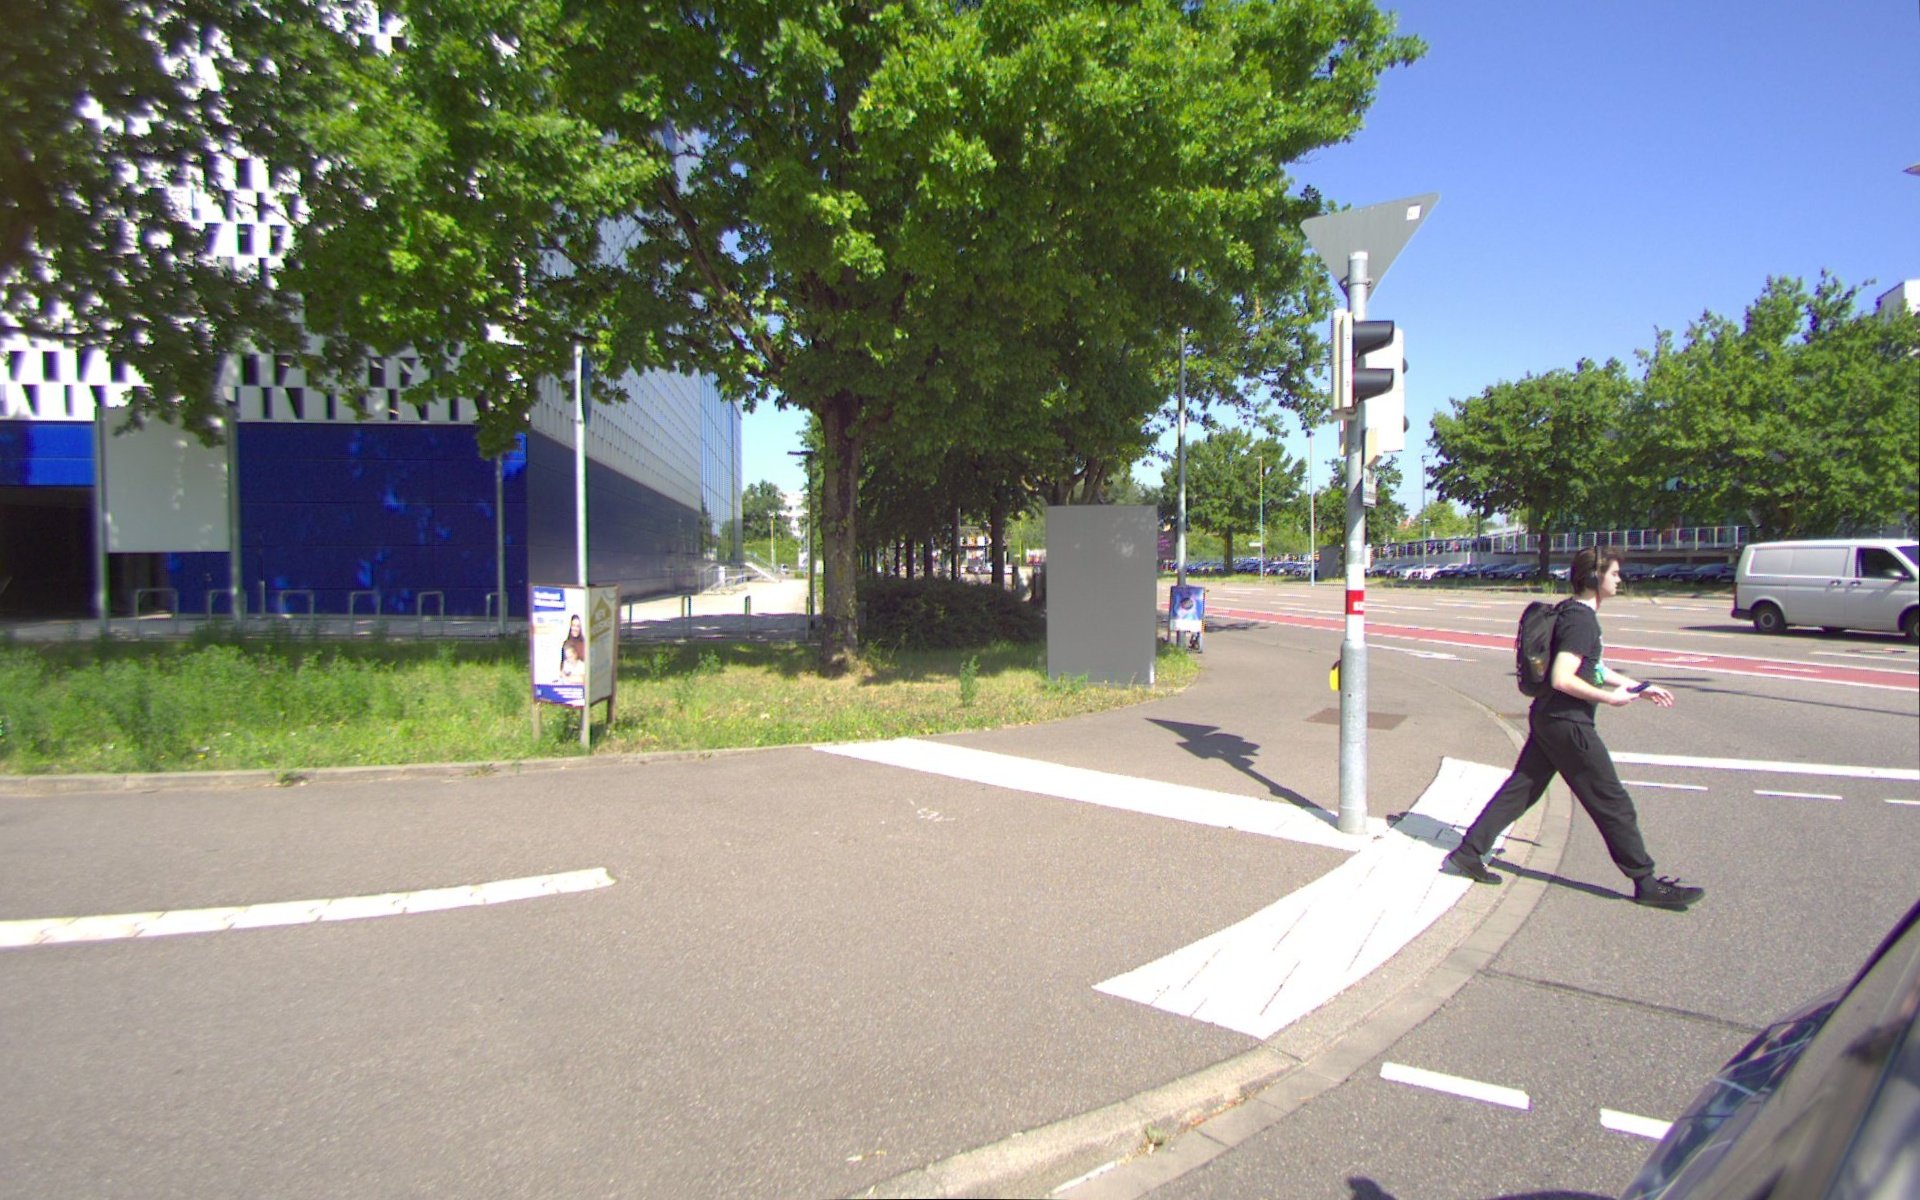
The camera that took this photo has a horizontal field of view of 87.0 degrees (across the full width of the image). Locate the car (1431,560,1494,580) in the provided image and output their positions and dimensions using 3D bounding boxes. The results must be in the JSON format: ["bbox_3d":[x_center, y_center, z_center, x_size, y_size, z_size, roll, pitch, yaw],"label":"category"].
[{"bbox_3d":[33.013,-1.966,66.576,3.350,1.264,1.597,0,2,-2],"label":"car"}]

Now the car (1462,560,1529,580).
[{"bbox_3d":[33.759,-1.890,63.871,3.350,1.264,1.597,0,2,-2],"label":"car"}]

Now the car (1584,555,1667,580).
[{"bbox_3d":[35.293,-1.732,53.707,3.350,1.264,1.597,0,2,-2],"label":"car"}]

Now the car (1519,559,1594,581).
[{"bbox_3d":[34.399,-1.733,58.423,3.350,1.264,1.597,0,2,-2],"label":"car"}]

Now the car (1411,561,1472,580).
[{"bbox_3d":[32.859,-2.039,69.105,3.350,1.264,1.597,0,2,-2],"label":"car"}]

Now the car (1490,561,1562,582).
[{"bbox_3d":[33.889,-1.722,60.632,3.351,1.264,1.597,0,2,-2],"label":"car"}]

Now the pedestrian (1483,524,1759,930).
[{"bbox_3d":[3.167,0.547,4.955,0.947,1.801,0.702,0,2,18],"label":"pedestrian"}]

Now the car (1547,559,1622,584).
[{"bbox_3d":[34.692,-1.584,56.252,3.109,1.341,1.643,0,2,-2],"label":"car"}]

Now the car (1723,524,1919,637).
[{"bbox_3d":[17.947,-0.428,19.817,1.705,2.032,5.009,-2,2,-8],"label":"car"}]

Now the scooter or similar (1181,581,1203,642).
[{"bbox_3d":[4.753,0.219,20.787,0.251,1.196,1.389,0,2,5],"label":"scooter or similar"}]

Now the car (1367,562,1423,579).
[{"bbox_3d":[31.975,-2.188,74.428,3.350,1.264,1.597,0,2,-2],"label":"car"}]

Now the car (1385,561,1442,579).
[{"bbox_3d":[32.231,-2.119,71.999,3.350,1.264,1.597,0,2,-2],"label":"car"}]

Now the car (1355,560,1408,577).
[{"bbox_3d":[31.930,-2.427,76.685,3.350,1.264,1.597,0,2,-2],"label":"car"}]

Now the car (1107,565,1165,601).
[{"bbox_3d":[8.149,-0.831,47.233,1.737,1.482,4.243,-2,2,-2],"label":"car"}]

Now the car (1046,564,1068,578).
[{"bbox_3d":[12.387,-3.650,128.960,2.127,1.695,4.517,-1,2,-3],"label":"car"}]

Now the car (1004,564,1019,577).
[{"bbox_3d":[8.277,-4.810,163.189,1.960,2.038,4.005,-1,2,-4],"label":"car"}]
